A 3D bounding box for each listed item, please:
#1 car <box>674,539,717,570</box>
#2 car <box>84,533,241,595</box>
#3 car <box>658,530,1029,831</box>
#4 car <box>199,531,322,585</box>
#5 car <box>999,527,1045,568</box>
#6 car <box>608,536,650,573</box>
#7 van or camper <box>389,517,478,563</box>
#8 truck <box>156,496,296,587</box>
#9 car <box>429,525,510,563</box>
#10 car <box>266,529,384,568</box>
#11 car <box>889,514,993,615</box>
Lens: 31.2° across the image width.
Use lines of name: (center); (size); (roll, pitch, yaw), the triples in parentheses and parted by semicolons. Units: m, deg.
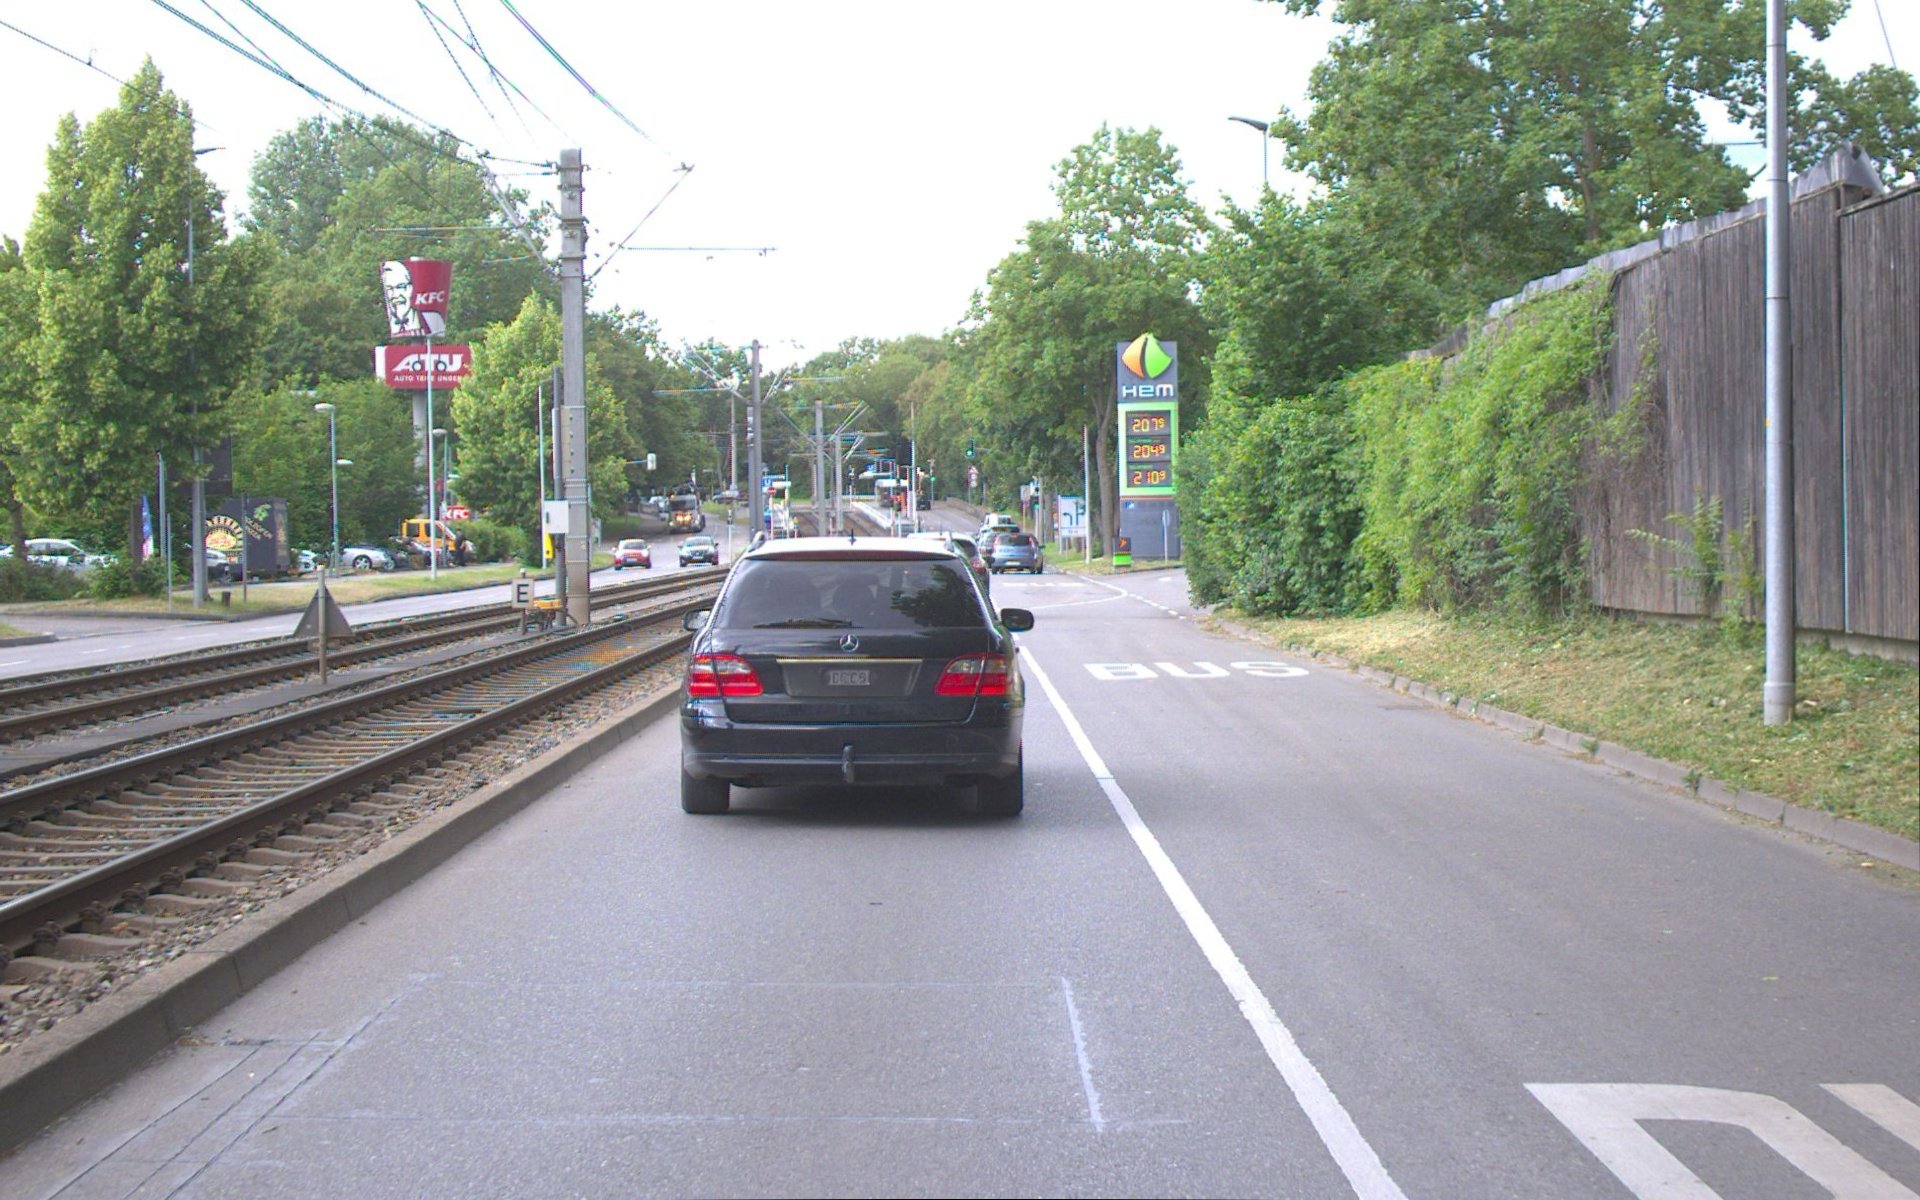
car: (-12.925, -2.232, 168.039); (1.759, 1.396, 4.444); (-4, 1, -1)
car: (-23.700, -1.094, 102.280); (4.220, 1.721, 1.996); (-1, 1, -2)
car: (-0.578, 0.358, 18.772); (1.808, 1.469, 3.881); (0, 1, 0)
car: (-24.569, -1.487, 120.851); (3.986, 1.791, 1.878); (-2, 1, -4)
car: (2.210, -1.872, 123.392); (1.571, 1.410, 3.354); (1, 0, 0)
car: (-16.151, -2.236, 167.976); (1.792, 1.766, 4.000); (-1, 1, -2)
van or camper: (-24.518, -2.810, 160.202); (3.986, 2.127, 1.878); (0, 1, -4)
truck: (-23.697, -1.882, 111.117); (3.986, 2.812, 2.376); (-1, 1, -3)
car: (-25.173, -2.868, 176.480); (3.986, 1.791, 1.878); (-2, 1, -4)
car: (-24.757, -2.019, 134.084); (4.306, 1.467, 1.681); (-1, 1, -2)
car: (-0.337, -0.635, 61.714); (1.780, 1.744, 3.718); (1, 0, 0)
